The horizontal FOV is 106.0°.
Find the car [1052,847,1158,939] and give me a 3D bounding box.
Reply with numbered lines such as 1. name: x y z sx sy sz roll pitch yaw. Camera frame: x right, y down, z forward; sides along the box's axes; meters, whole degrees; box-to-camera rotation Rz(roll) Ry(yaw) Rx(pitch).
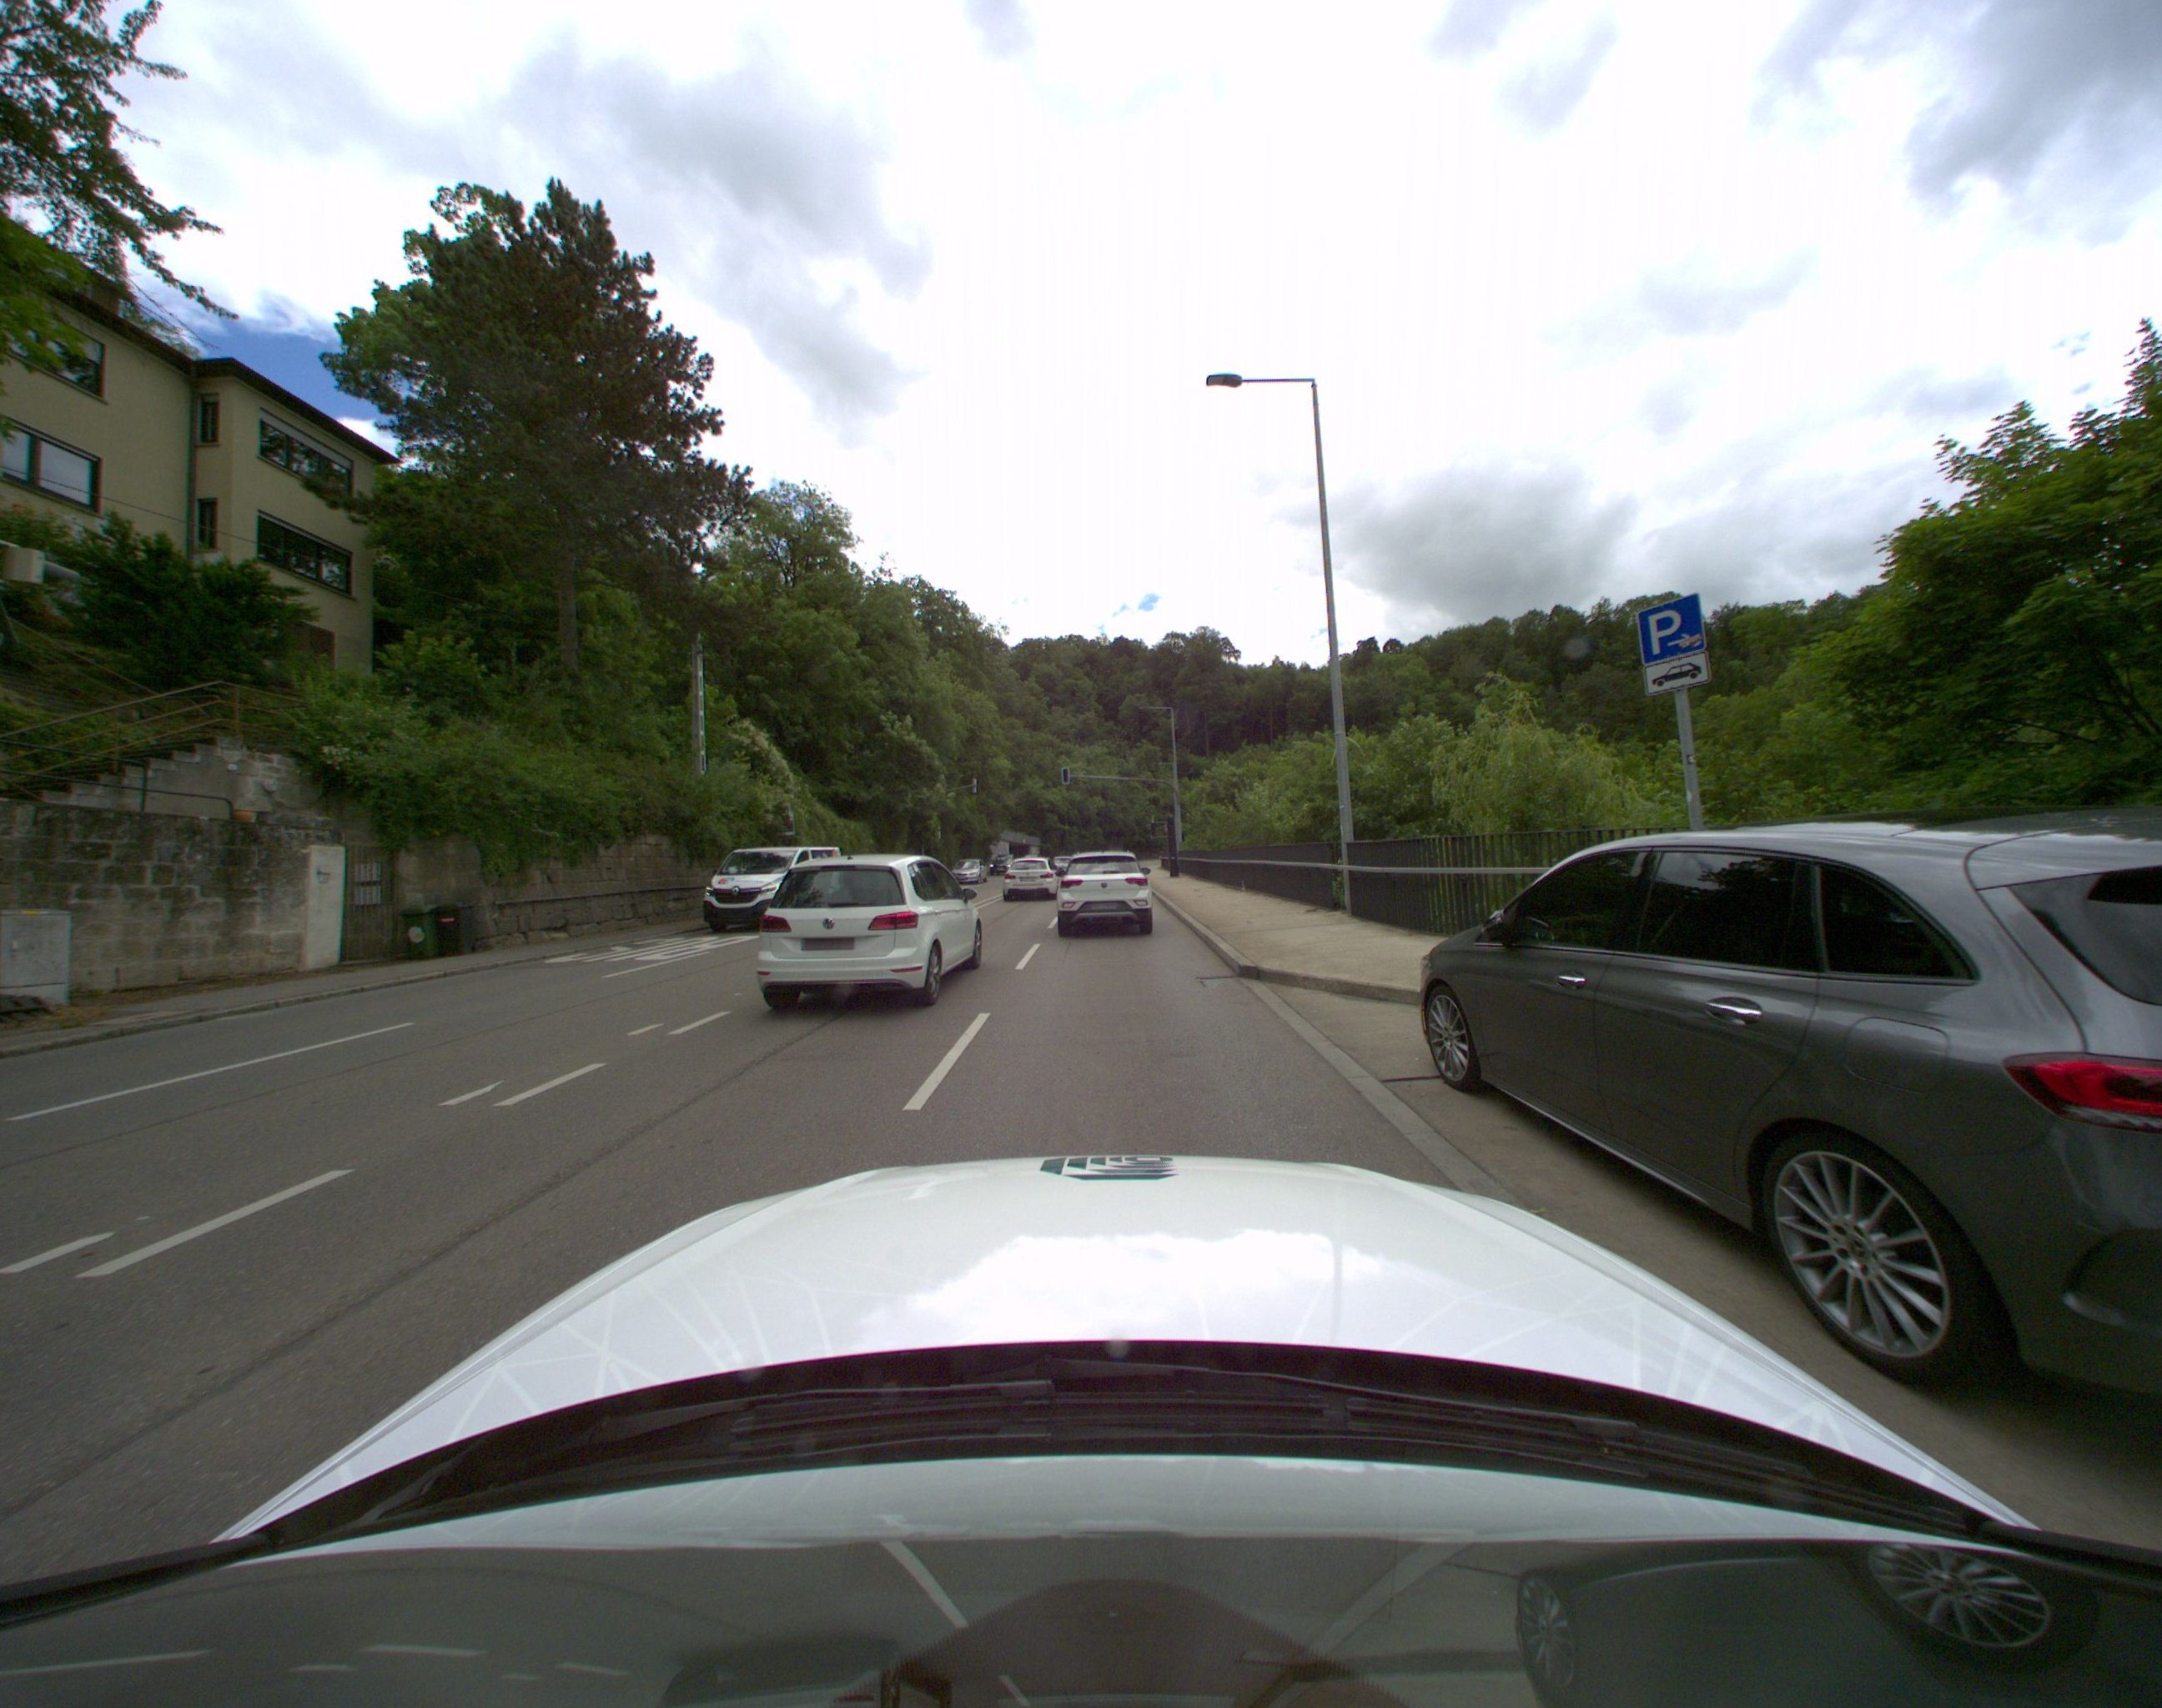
1. car: 0.374 0.693 16.395 1.809 1.539 4.005 -3 0 -2

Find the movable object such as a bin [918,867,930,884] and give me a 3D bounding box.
1. movable object such as a bin: -10.174 1.368 52.682 0.639 1.067 0.557 0 -1 0

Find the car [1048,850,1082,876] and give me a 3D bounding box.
1. car: -0.956 0.551 51.032 1.855 1.595 4.002 0 0 2

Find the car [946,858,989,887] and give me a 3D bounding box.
1. car: -6.556 1.025 47.463 1.669 1.442 4.238 0 2 3

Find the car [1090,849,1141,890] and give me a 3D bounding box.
1. car: 1.732 0.723 39.319 1.982 1.843 4.160 0 -1 9

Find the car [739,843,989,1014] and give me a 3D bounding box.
1. car: -2.276 0.705 9.757 1.714 1.554 4.276 -2 0 1

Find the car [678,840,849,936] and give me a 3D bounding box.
1. car: -7.624 0.736 20.249 1.914 2.005 5.358 -2 0 2

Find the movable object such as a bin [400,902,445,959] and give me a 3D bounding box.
1. movable object such as a bin: -11.510 1.328 14.242 0.476 0.971 0.367 0 -1 -3

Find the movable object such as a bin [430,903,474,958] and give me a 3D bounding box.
1. movable object such as a bin: -11.004 1.335 14.259 0.478 0.936 0.365 0 -1 -3

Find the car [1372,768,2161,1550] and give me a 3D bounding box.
1. car: 3.035 0.550 3.829 1.750 1.544 4.429 -5 0 2

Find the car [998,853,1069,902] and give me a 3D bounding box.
1. car: -1.581 0.769 28.949 1.985 1.557 4.684 -1 0 3

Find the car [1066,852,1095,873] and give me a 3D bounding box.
1. car: -0.028 0.724 71.406 1.982 1.741 4.009 -2 0 8

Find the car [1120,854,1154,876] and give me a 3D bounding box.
1. car: 5.279 1.046 76.590 1.976 2.014 4.021 -1 -1 22

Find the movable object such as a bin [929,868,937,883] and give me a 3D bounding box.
1. movable object such as a bin: -9.590 1.368 52.783 0.425 0.950 0.479 0 -1 0

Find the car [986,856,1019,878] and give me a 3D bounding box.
1. car: -6.082 0.975 63.321 1.934 1.549 4.250 -3 -1 2
